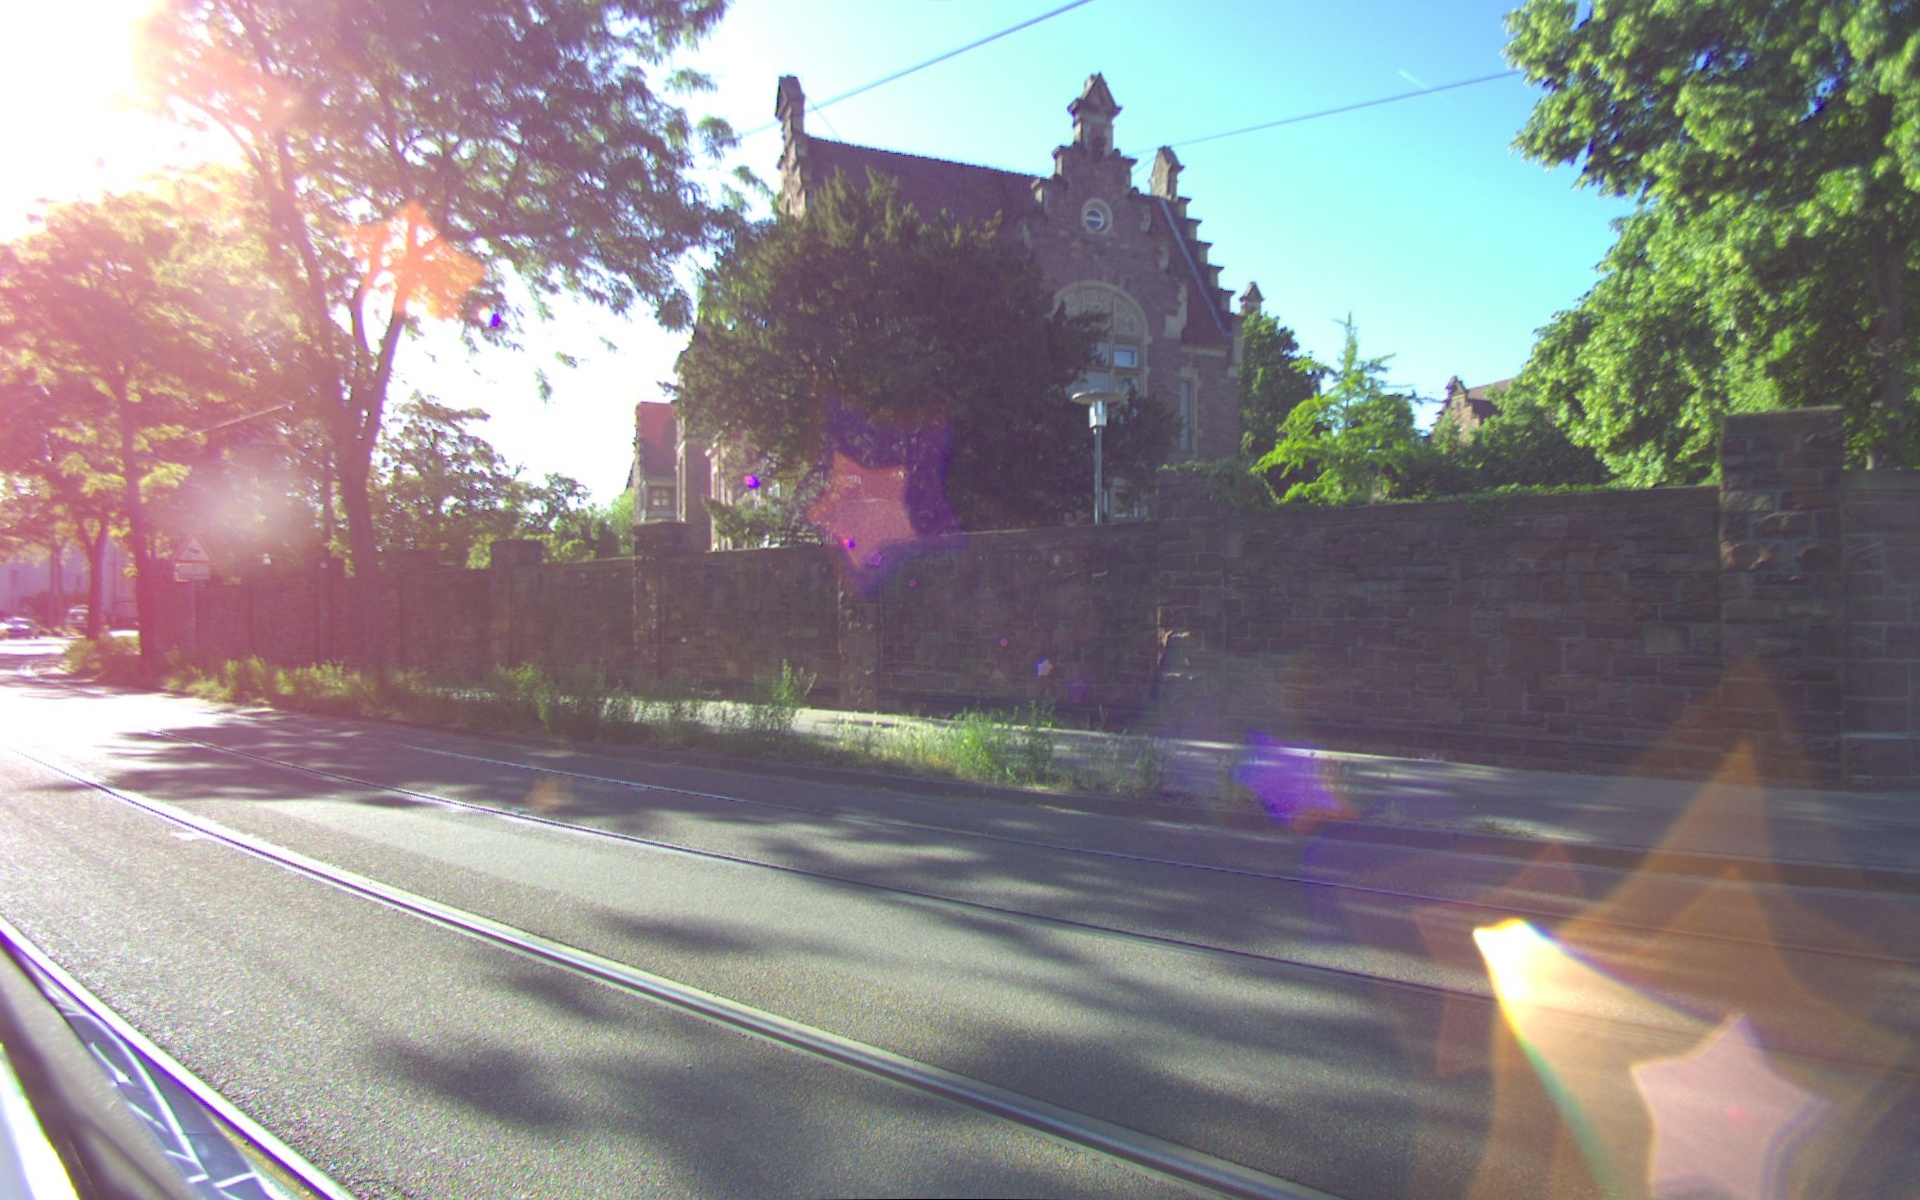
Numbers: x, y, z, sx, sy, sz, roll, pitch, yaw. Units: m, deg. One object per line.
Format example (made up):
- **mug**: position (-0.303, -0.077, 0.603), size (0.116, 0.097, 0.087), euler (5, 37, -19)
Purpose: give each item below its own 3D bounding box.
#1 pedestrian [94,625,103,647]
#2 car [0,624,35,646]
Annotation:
- **pedestrian**: position (-71.915, 2.996, 84.466), size (0.516, 1.847, 0.588), euler (0, -1, -34)
- **car**: position (-68.912, 2.523, 73.834), size (1.969, 1.560, 4.005), euler (0, -1, -41)
